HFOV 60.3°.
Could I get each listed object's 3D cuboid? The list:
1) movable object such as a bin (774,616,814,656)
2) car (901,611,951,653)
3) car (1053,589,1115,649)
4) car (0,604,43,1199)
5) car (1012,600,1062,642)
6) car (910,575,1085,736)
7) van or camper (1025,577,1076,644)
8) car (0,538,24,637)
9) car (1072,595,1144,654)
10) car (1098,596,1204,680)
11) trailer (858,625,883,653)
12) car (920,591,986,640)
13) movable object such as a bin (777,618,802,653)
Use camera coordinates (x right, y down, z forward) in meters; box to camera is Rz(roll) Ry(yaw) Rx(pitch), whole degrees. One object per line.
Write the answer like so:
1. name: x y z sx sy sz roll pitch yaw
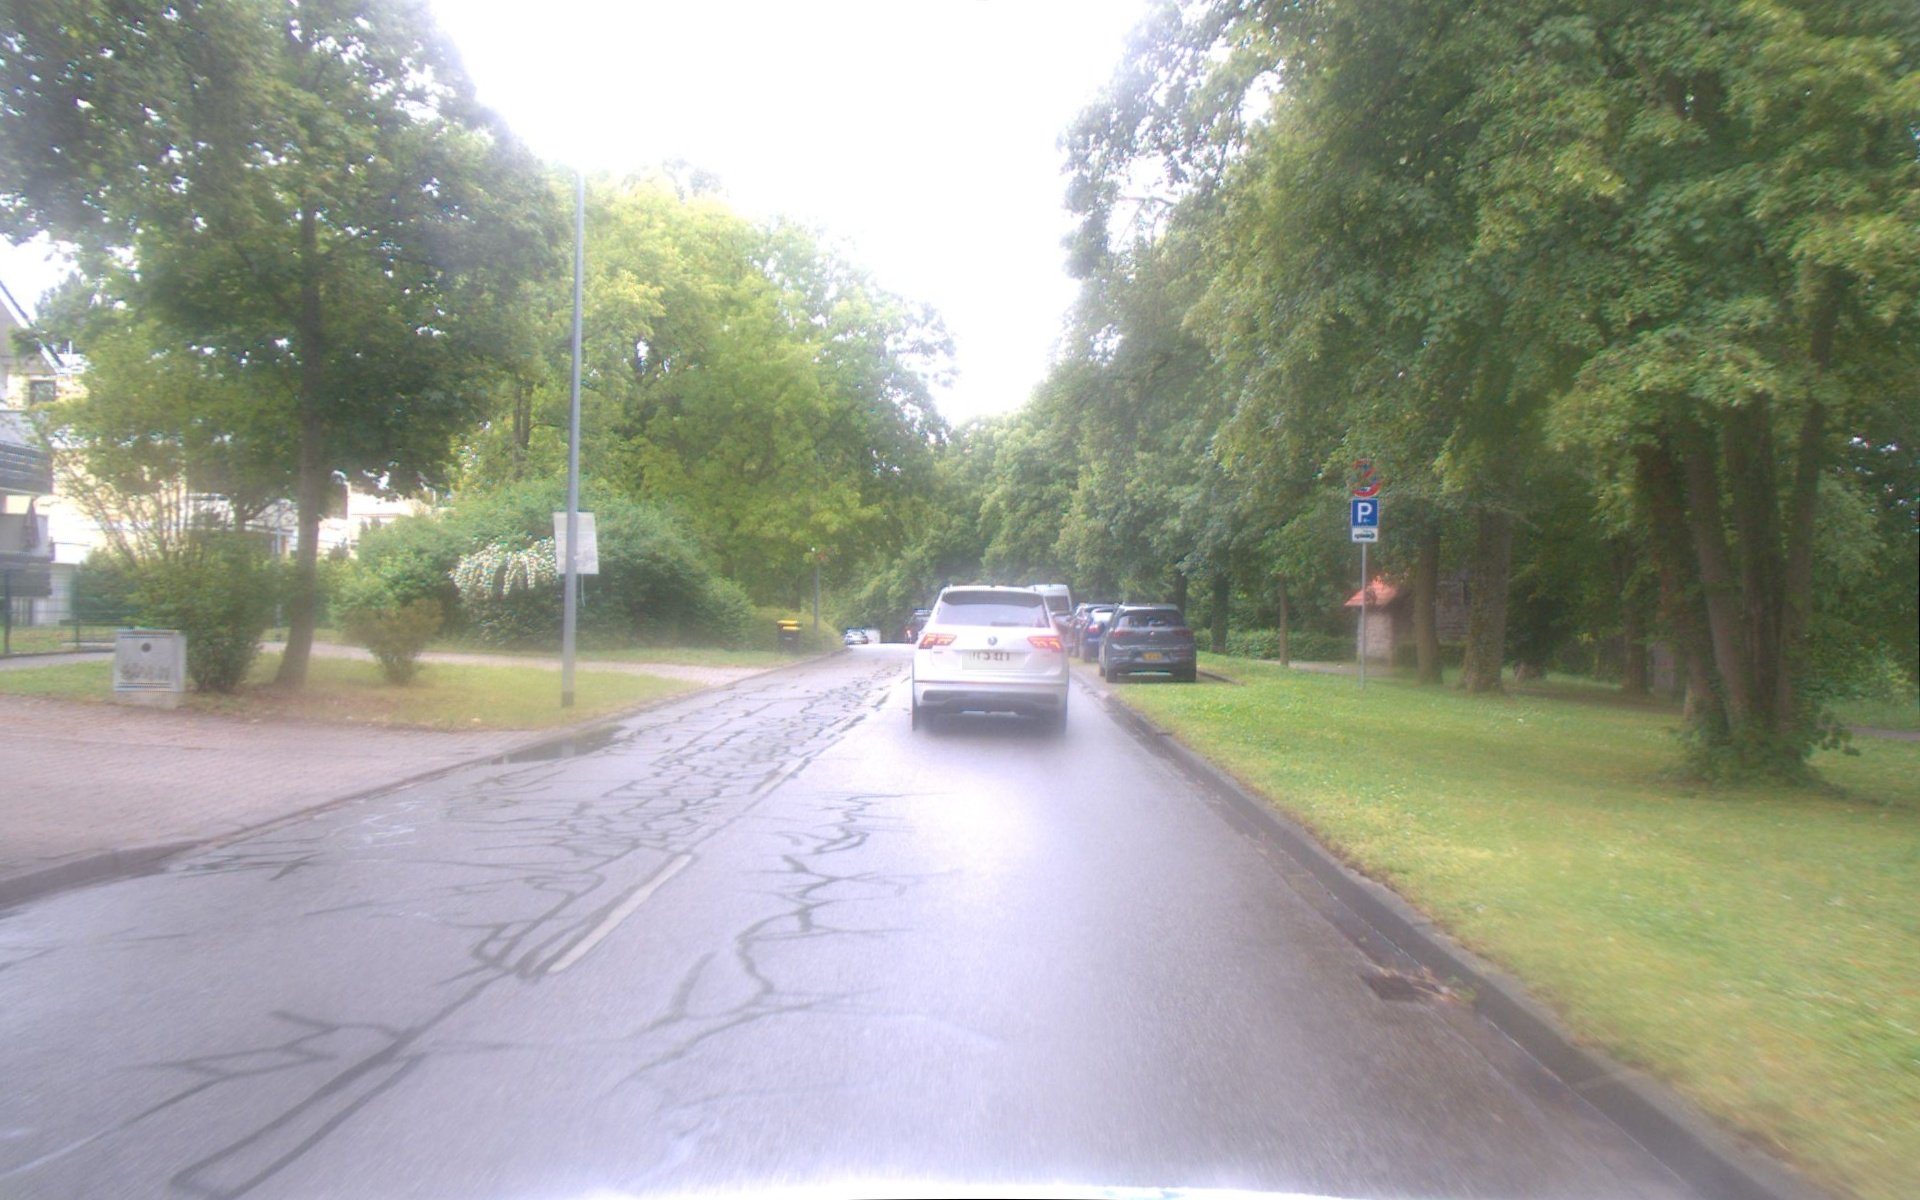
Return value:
1. movable object such as a bin: -4.836 1.039 48.310 1.016 1.124 0.966 -2 -1 2
2. car: -1.829 1.657 87.348 1.958 2.049 3.990 0 1 -11
3. car: 3.799 0.569 51.207 1.744 1.749 4.262 -1 0 2
4. car: -3.189 0.768 2.168 1.665 1.435 4.009 -2 0 0
5. car: 2.901 0.777 62.675 1.826 1.538 3.725 0 0 2
6. car: 0.367 0.613 20.078 1.866 1.715 4.199 1 0 -1
7. van or camper: 3.855 0.426 71.306 1.974 2.628 8.438 2 0 2
8. car: -21.796 -0.238 34.026 3.909 2.049 1.998 -1 0 -5
9. car: 3.902 0.630 44.076 1.707 1.478 4.001 -1 0 2
10. car: 3.670 0.707 32.417 1.665 1.487 4.218 -1 0 1
11. trailer: -7.503 3.267 138.061 1.503 2.112 3.988 -1 -3 -11
12. car: -0.345 0.667 73.426 1.961 2.049 3.984 0 1 -15
13. movable object such as a bin: -5.060 1.051 49.049 0.634 0.996 0.578 2 0 2
